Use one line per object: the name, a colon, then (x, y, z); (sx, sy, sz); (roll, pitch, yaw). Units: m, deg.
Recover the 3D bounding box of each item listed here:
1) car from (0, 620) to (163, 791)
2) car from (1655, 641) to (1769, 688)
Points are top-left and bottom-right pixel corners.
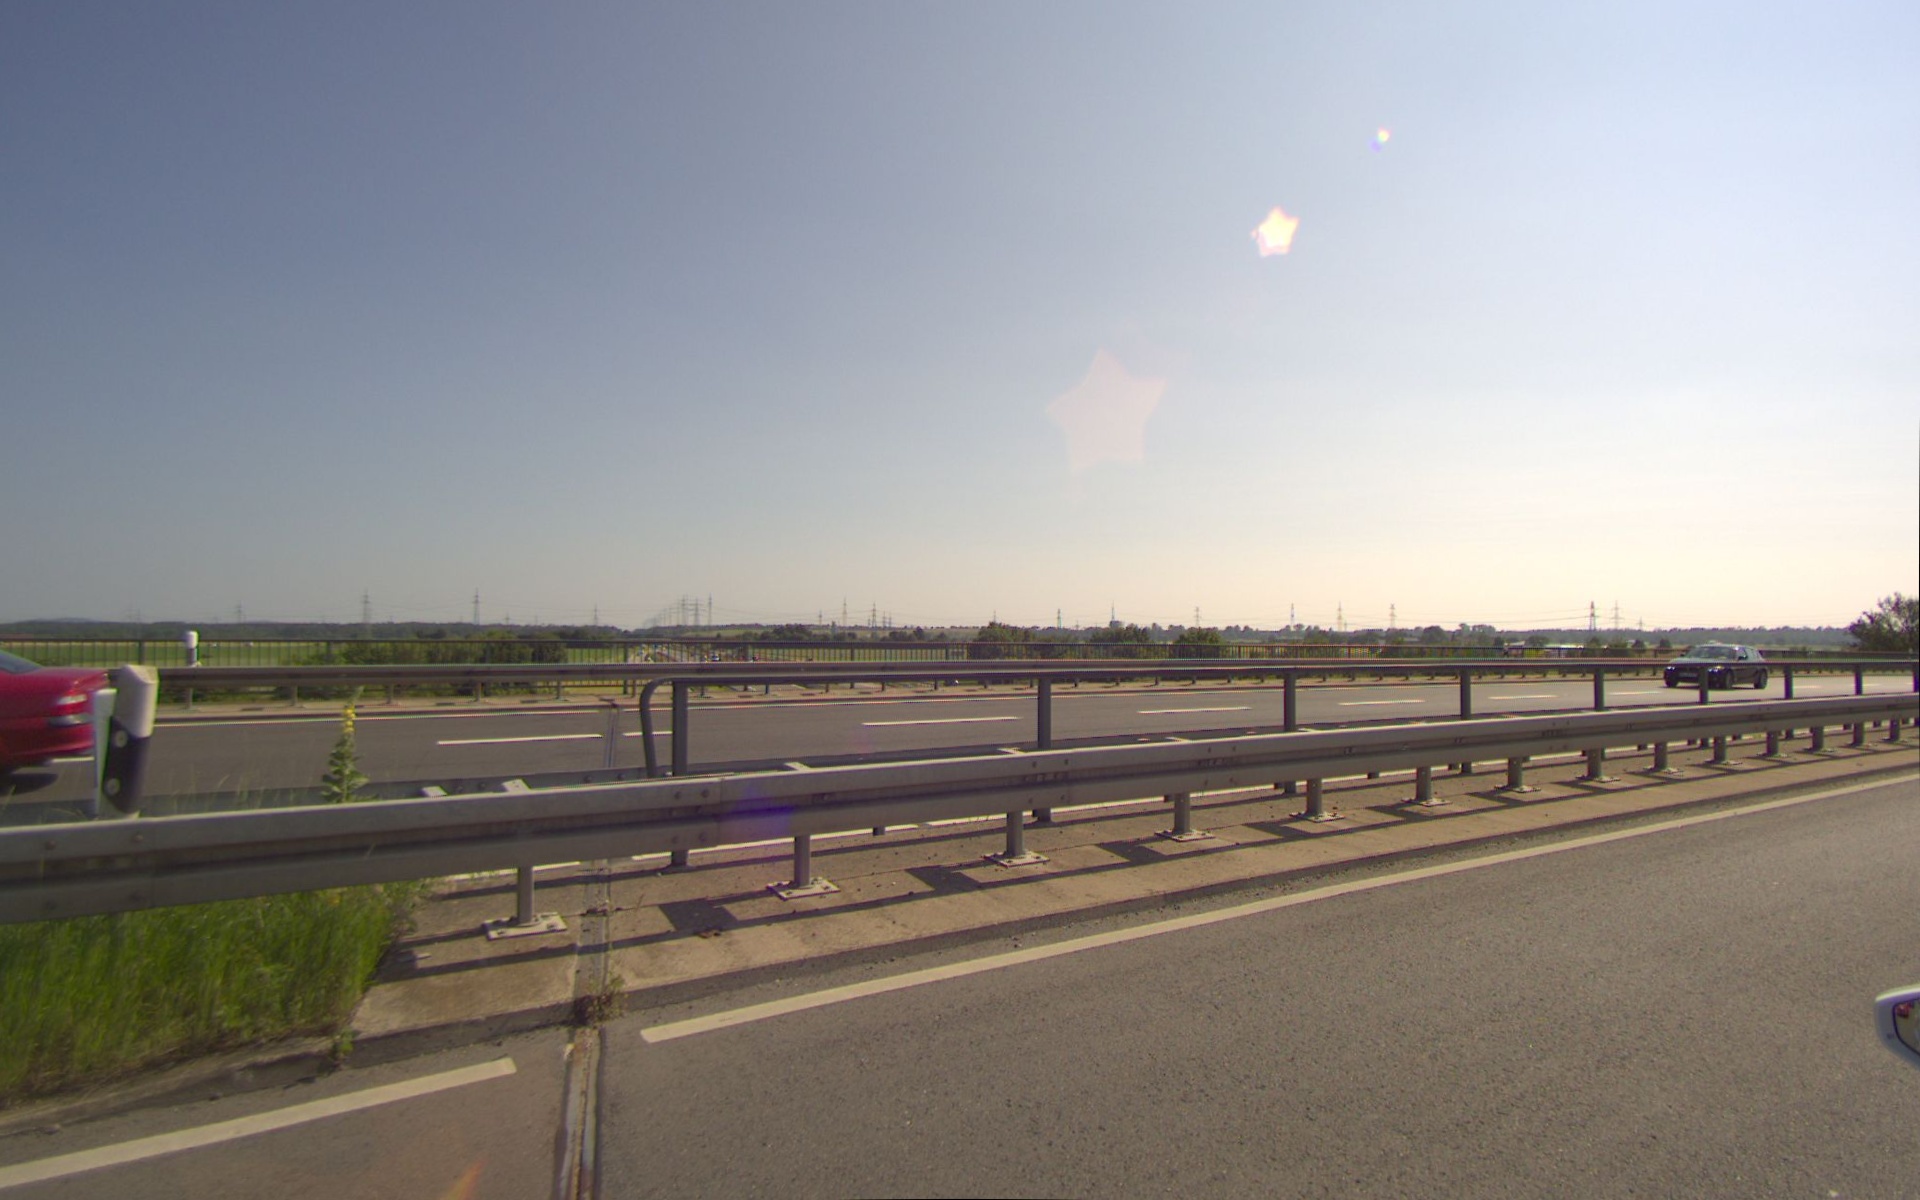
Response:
car: (-9.887, 0.897, 8.702); (4.484, 1.447, 1.813); (2, -1, -34)
car: (25.123, 2.123, 33.537); (3.956, 1.402, 1.769); (2, 0, -33)
